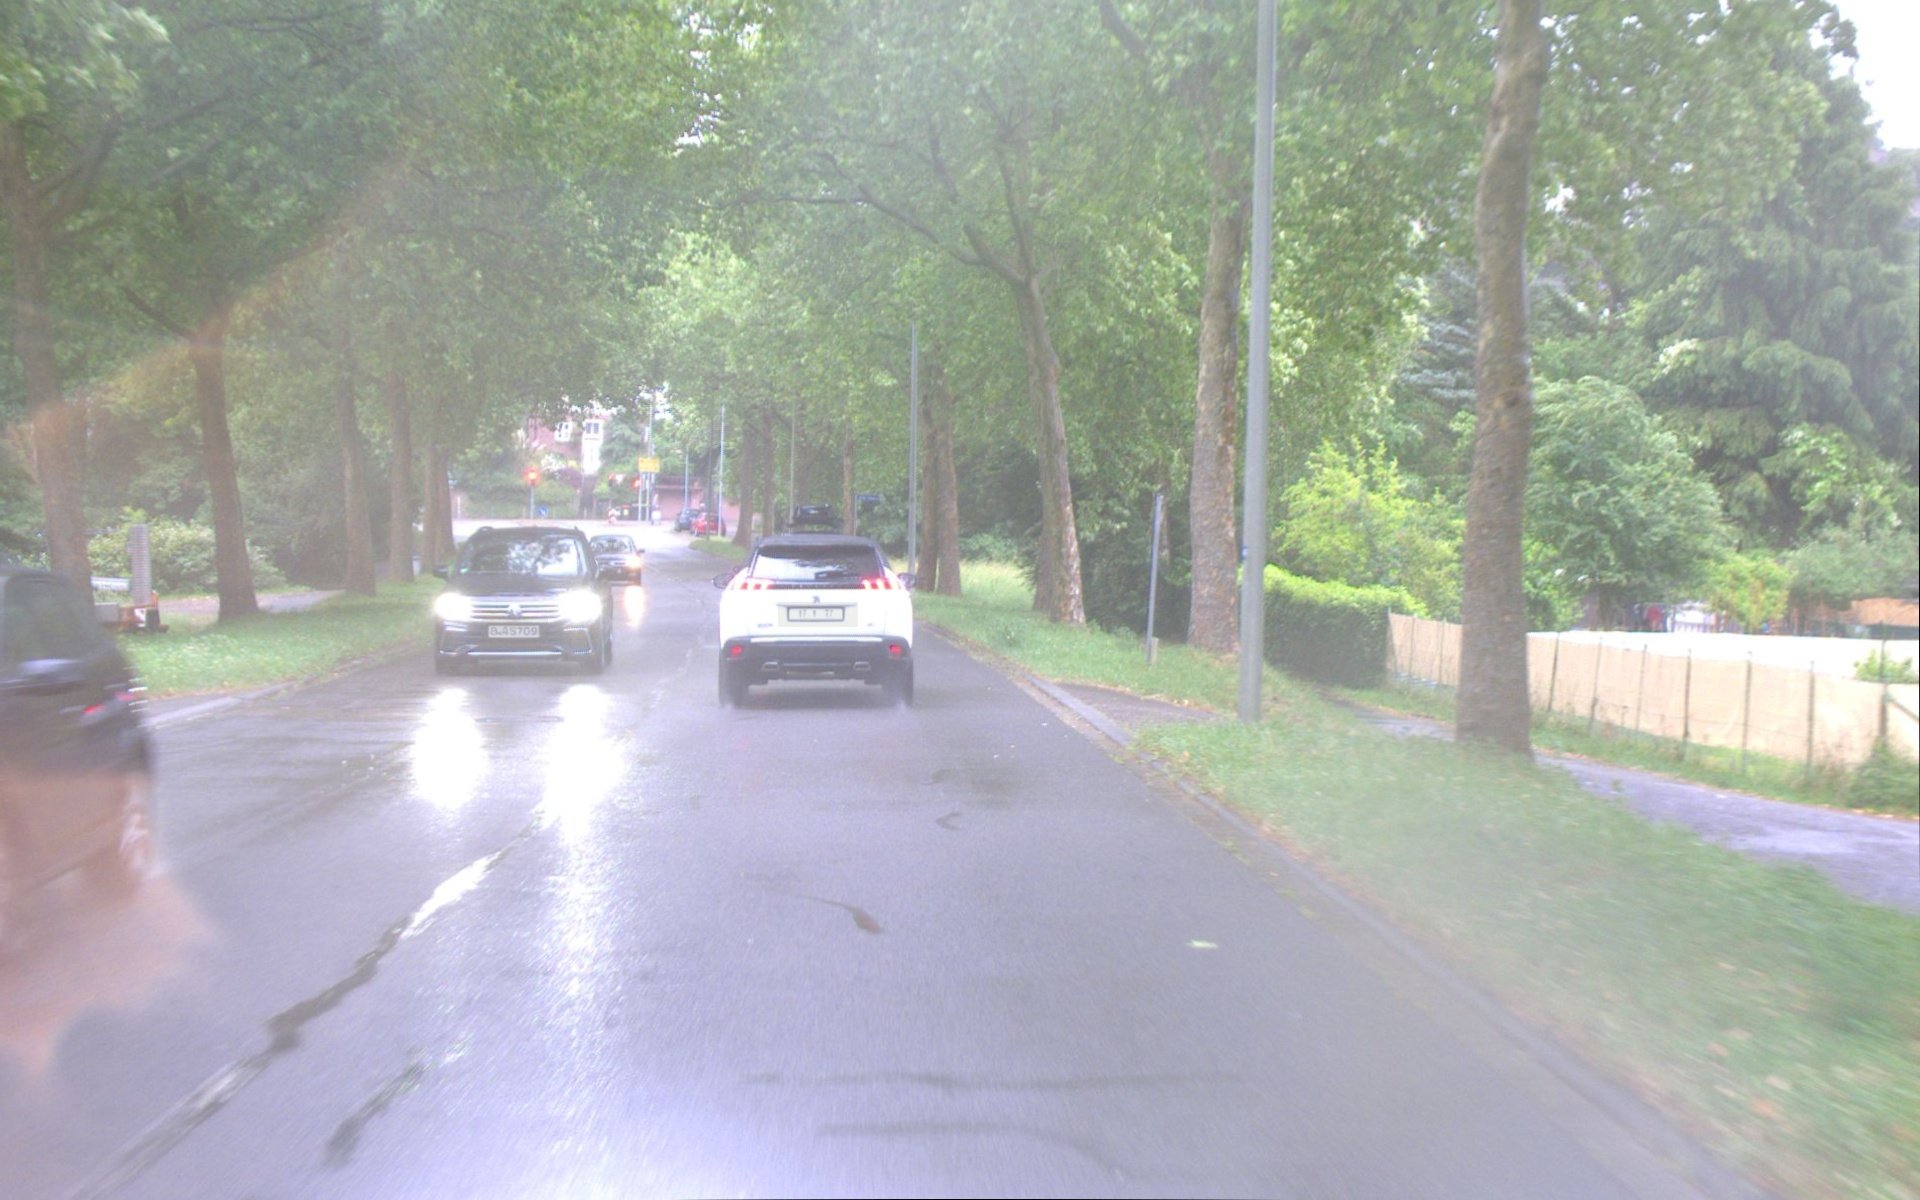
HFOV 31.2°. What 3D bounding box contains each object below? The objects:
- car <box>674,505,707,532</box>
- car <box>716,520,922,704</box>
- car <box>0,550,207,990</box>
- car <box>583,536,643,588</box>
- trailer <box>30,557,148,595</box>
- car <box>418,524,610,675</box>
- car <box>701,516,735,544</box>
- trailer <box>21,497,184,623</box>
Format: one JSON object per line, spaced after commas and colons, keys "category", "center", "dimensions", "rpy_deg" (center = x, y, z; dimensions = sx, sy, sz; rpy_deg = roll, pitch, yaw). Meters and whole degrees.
{"category": "car", "center": [-16.523, -4.981, 210.811], "dimensions": [1.827, 1.590, 3.654], "rpy_deg": [1, 1, -2]}
{"category": "car", "center": [-1.309, 0.066, 32.317], "dimensions": [1.793, 1.573, 3.845], "rpy_deg": [1, 2, -2]}
{"category": "car", "center": [-4.170, 0.534, 13.282], "dimensions": [1.731, 1.418, 4.226], "rpy_deg": [3, 1, -3]}
{"category": "car", "center": [-10.280, -1.130, 101.630], "dimensions": [1.706, 1.481, 3.882], "rpy_deg": [1, 1, -6]}
{"category": "trailer", "center": [-27.726, -0.776, 109.545], "dimensions": [3.552, 1.174, 1.823], "rpy_deg": [0, 2, -11]}
{"category": "car", "center": [-5.003, -0.045, 39.018], "dimensions": [1.731, 1.582, 4.311], "rpy_deg": [1, 1, -2]}
{"category": "car", "center": [-14.161, -4.086, 201.296], "dimensions": [1.827, 1.590, 3.654], "rpy_deg": [1, 1, -2]}
{"category": "trailer", "center": [-18.382, -0.882, 73.971], "dimensions": [2.484, 2.558, 5.333], "rpy_deg": [1, 1, -4]}
